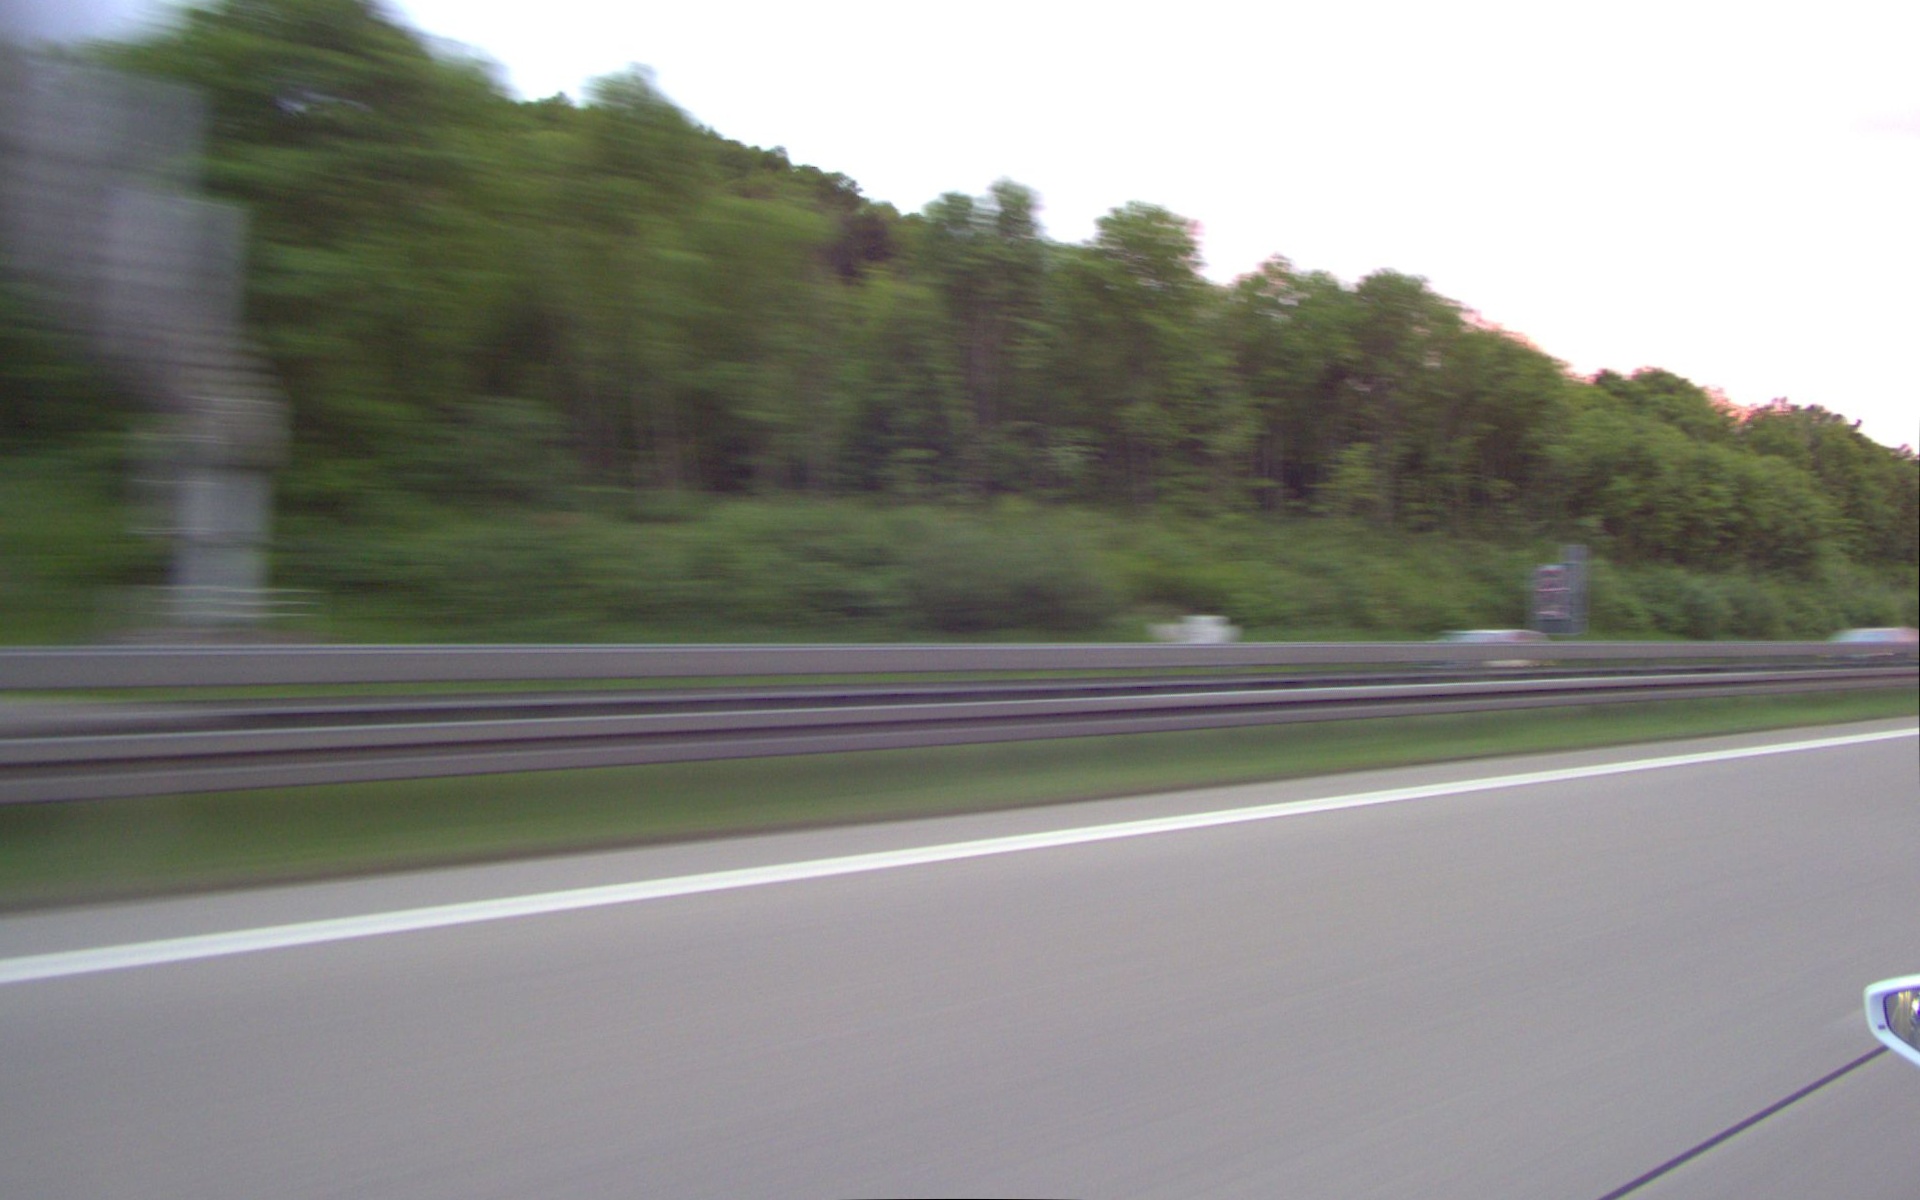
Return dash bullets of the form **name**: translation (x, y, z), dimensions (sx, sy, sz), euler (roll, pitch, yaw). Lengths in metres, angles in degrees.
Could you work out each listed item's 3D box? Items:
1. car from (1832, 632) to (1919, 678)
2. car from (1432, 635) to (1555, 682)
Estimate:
- **car**: translation (36.618, 2.159, 39.883), dimensions (4.407, 1.716, 1.753), euler (2, -1, -31)
- **car**: translation (18.369, 1.983, 34.547), dimensions (4.340, 1.501, 1.753), euler (2, -1, -31)
